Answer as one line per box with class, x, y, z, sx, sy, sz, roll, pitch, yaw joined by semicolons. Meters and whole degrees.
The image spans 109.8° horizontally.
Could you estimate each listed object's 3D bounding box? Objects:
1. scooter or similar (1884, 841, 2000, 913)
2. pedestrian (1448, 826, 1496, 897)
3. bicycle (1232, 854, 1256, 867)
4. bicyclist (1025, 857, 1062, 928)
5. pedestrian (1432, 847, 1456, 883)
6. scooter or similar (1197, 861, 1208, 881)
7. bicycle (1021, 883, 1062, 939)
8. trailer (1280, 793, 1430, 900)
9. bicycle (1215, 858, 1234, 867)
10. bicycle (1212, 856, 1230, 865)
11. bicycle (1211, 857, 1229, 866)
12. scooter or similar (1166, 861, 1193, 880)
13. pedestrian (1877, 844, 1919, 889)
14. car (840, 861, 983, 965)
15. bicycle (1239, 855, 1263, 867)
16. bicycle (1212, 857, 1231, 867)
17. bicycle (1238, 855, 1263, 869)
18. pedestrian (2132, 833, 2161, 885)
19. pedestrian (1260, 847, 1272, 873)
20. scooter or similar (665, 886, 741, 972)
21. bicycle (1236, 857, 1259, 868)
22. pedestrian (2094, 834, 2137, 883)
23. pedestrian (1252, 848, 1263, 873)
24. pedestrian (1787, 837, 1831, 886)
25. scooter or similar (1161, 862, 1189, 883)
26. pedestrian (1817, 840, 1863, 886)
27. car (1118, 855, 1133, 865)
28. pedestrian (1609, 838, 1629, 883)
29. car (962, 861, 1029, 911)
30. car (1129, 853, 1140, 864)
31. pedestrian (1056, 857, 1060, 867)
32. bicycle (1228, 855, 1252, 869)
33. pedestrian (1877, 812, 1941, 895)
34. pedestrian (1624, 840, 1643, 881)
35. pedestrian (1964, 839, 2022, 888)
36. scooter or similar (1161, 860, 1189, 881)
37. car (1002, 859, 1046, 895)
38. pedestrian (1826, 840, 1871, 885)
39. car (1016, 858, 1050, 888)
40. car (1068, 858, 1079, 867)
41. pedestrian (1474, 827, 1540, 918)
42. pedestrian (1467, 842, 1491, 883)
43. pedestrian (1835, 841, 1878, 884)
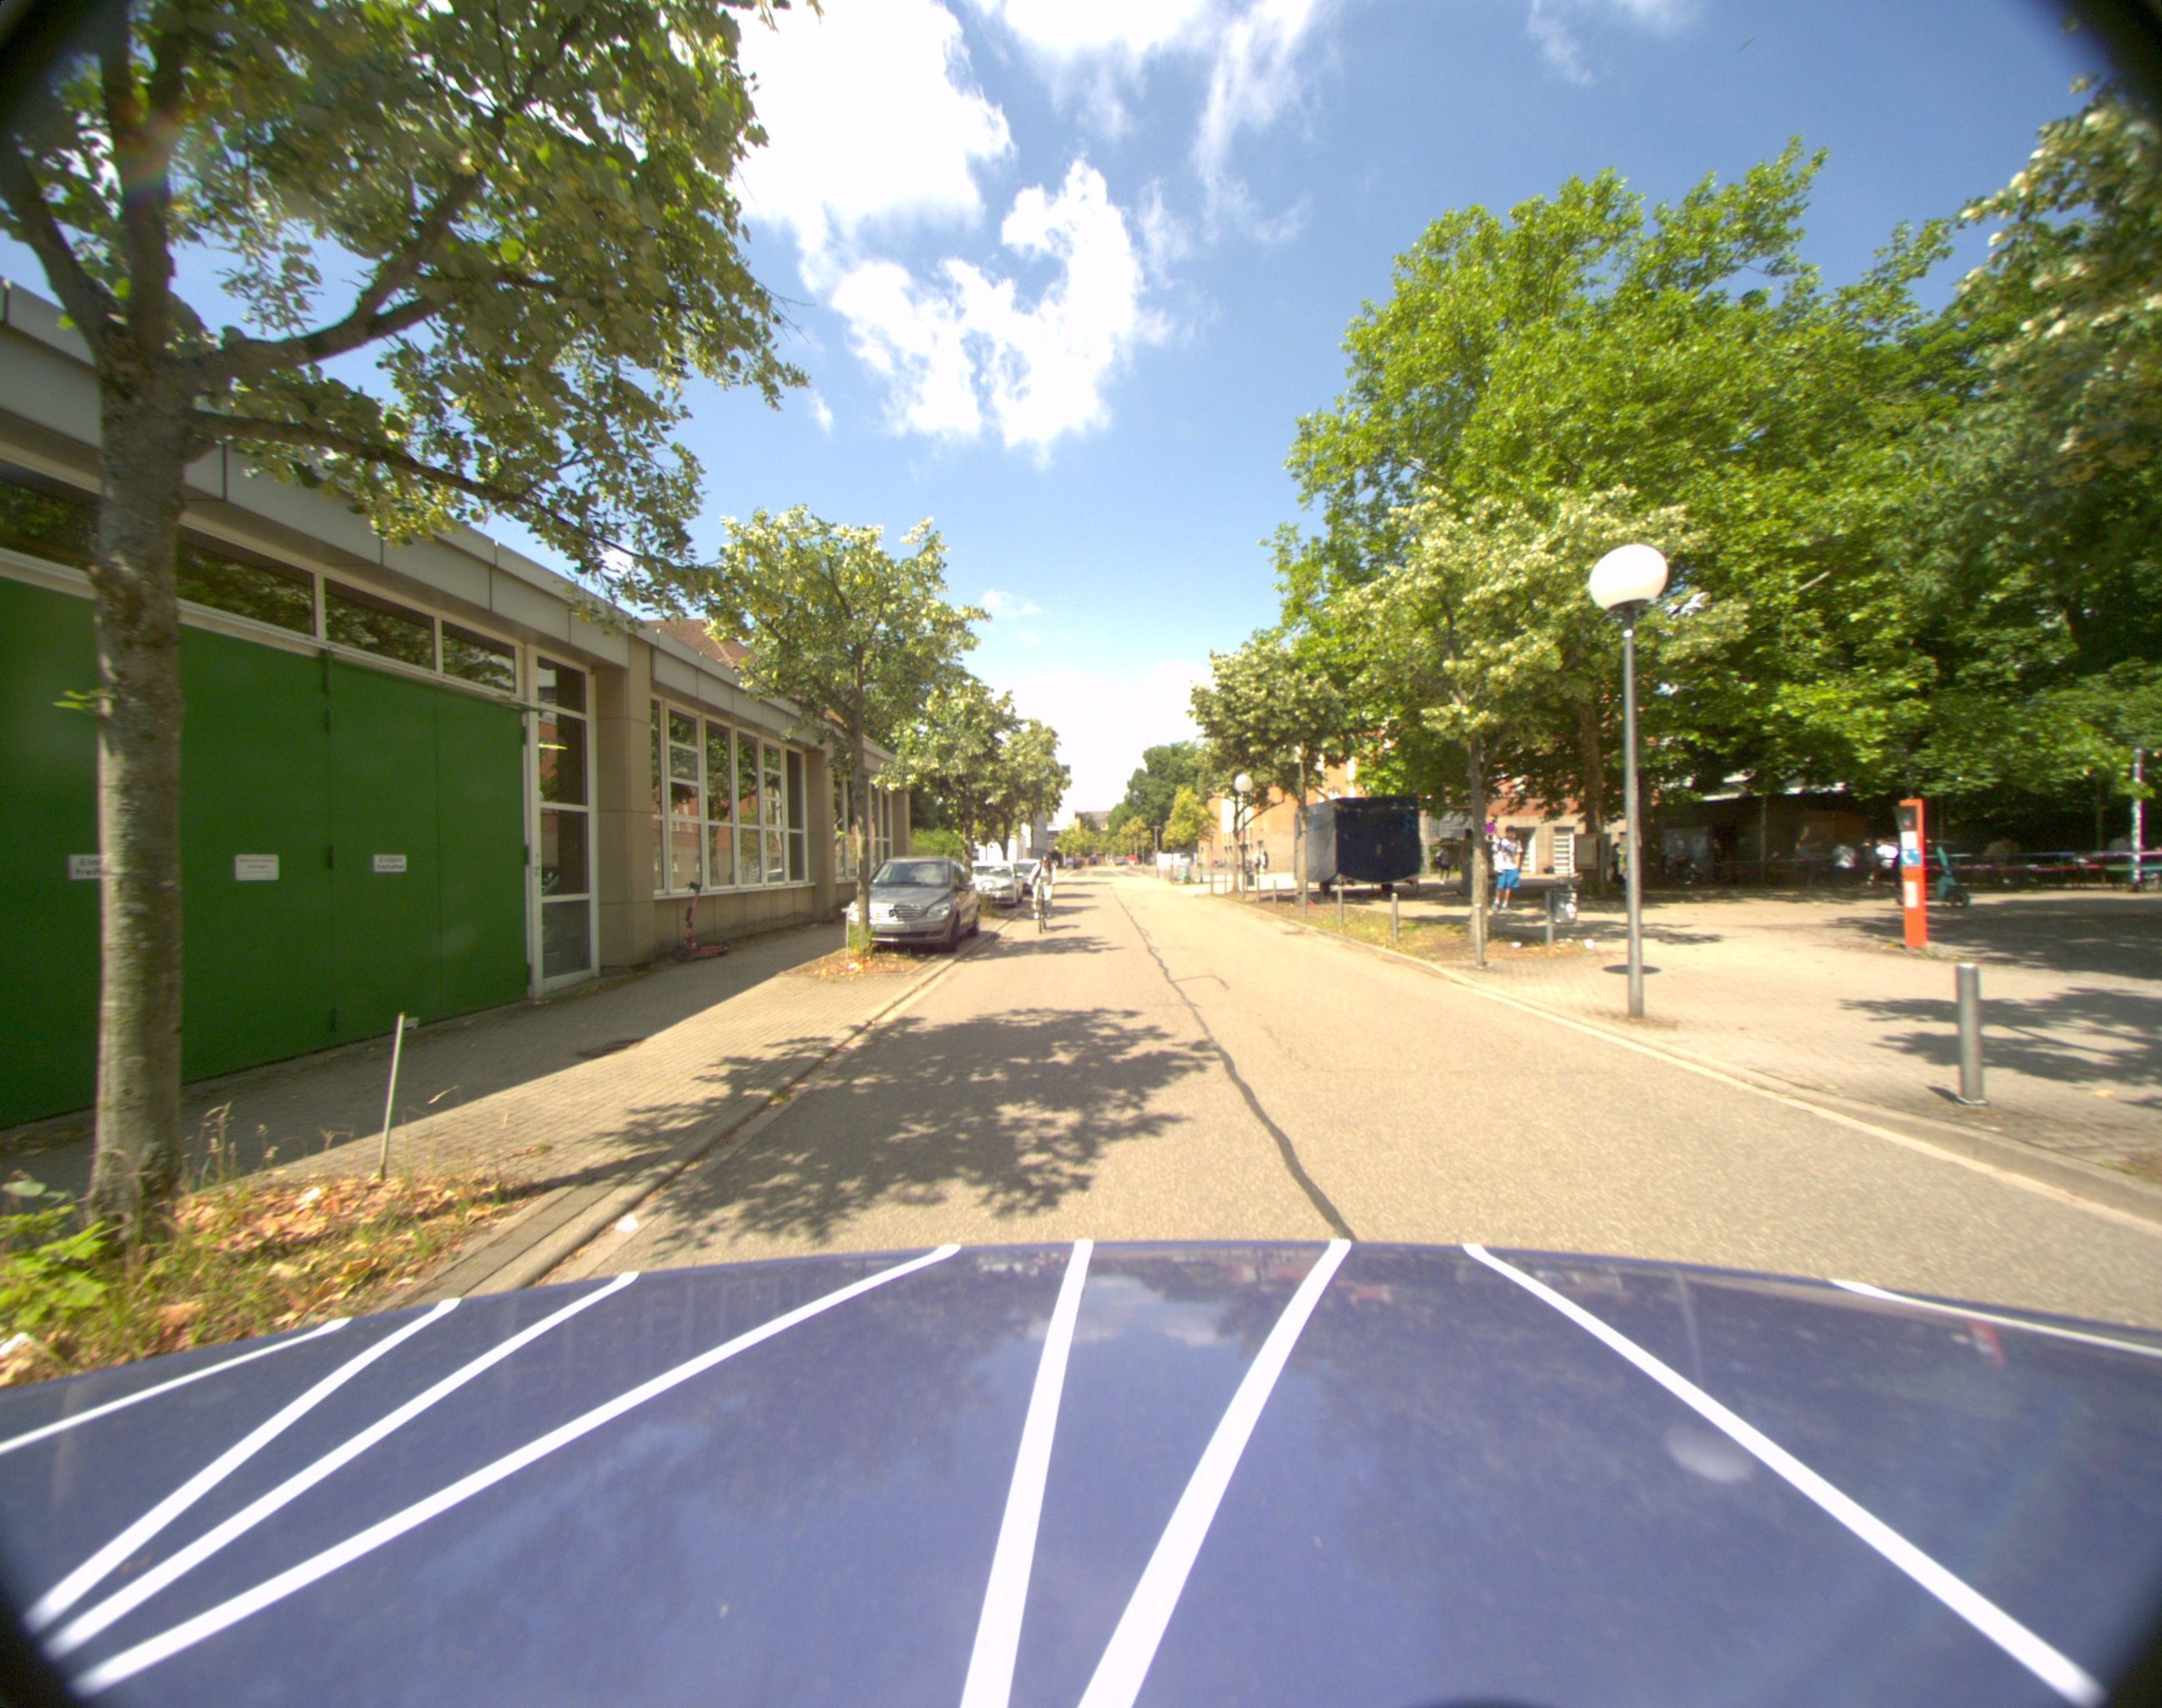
scooter or similar;15.678;0.404;13.874;0.700;1.239;1.241;-2;0;1
pedestrian;11.076;0.207;21.562;0.919;1.943;0.893;-3;1;11
bicycle;14.492;0.596;67.507;2.026;1.119;0.592;-1;0;2
bicyclist;-0.802;0.813;16.578;0.675;1.470;1.062;-1;2;3
pedestrian;15.508;0.458;32.481;0.744;1.500;0.499;-2;1;2
scooter or similar;7.210;1.011;45.009;0.564;1.142;1.351;-1;0;13
bicycle;-0.842;1.200;16.604;0.675;1.066;2.136;-1;0;3
trailer;8.830;-0.210;25.347;2.703;3.009;6.266;-2;0;1
bicycle;15.558;0.910;82.488;1.955;0.935;0.569;-1;0;0
bicycle;15.947;0.727;86.488;1.955;1.024;0.518;-1;0;0
bicycle;15.912;0.824;87.198;1.955;1.024;0.542;-1;0;0
scooter or similar;6.183;1.039;47.706;1.571;1.218;0.571;-1;1;28
pedestrian;24.590;0.372;22.884;0.646;1.315;0.559;-1;0;2
car;-2.881;0.939;13.815;1.708;1.565;4.140;0;0;-1
bicycle;15.618;0.628;69.694;2.015;1.076;0.622;-1;0;0
bicycle;15.558;0.872;83.948;1.955;1.024;0.530;-1;0;0
bicycle;14.604;0.687;65.532;2.027;1.119;0.667;-1;0;0
pedestrian;24.974;0.118;17.535;0.392;1.187;0.730;-2;0;-8
pedestrian;12.934;0.430;53.220;0.577;1.769;0.917;-2;1;0
scooter or similar;-5.886;1.134;11.906;0.417;1.210;1.493;0;0;1
bicycle;15.644;0.788;71.472;2.027;1.055;0.663;-1;0;0
pedestrian;24.772;0.105;18.200;0.336;1.133;0.506;-2;0;-10
pedestrian;12.350;0.444;53.180;0.564;1.752;0.805;-1;1;0
pedestrian;20.917;0.216;21.842;0.596;1.361;0.741;-2;-1;-33
scooter or similar;5.673;1.137;46.031;1.571;1.218;0.525;-1;1;28
pedestrian;21.000;0.263;21.032;0.596;1.226;0.741;-2;-1;-33
car;9.834;1.275;168.503;2.022;2.079;4.440;-2;-1;22
pedestrian;21.099;0.253;29.794;0.531;1.700;0.447;-3;0;-43
car;-2.713;0.968;25.062;1.730;1.458;4.671;0;0;-1
car;9.997;0.872;141.690;1.912;1.870;4.003;-2;-1;8
pedestrian;-3.140;1.129;104.812;0.525;1.430;0.701;-1;0;4
bicycle;14.283;0.716;68.291;2.026;1.119;0.439;-3;0;5
pedestrian;18.946;-0.017;17.404;0.531;1.837;0.806;-2;0;2
pedestrian;21.772;0.267;29.947;0.607;1.584;0.411;-3;0;-41
pedestrian;23.764;0.249;19.807;0.570;1.243;0.766;-2;0;-10
scooter or similar;5.798;1.023;46.880;1.571;1.218;0.566;-1;1;28
car;-2.454;0.962;33.485;1.651;1.382;3.987;-2;1;-1
pedestrian;21.549;0.243;21.332;0.596;1.226;0.741;-2;-1;-33
car;-2.481;0.957;39.938;1.591;1.458;3.988;-1;0;-1
car;-1.156;1.232;113.214;1.552;1.377;3.454;-1;0;-1
pedestrian;8.925;0.373;15.967;0.801;1.820;0.987;-2;0;1
pedestrian;16.509;0.366;31.520;0.632;1.656;0.643;-2;0;2
pedestrian;23.405;0.260;22.928;0.561;1.264;0.693;-2;0;2
